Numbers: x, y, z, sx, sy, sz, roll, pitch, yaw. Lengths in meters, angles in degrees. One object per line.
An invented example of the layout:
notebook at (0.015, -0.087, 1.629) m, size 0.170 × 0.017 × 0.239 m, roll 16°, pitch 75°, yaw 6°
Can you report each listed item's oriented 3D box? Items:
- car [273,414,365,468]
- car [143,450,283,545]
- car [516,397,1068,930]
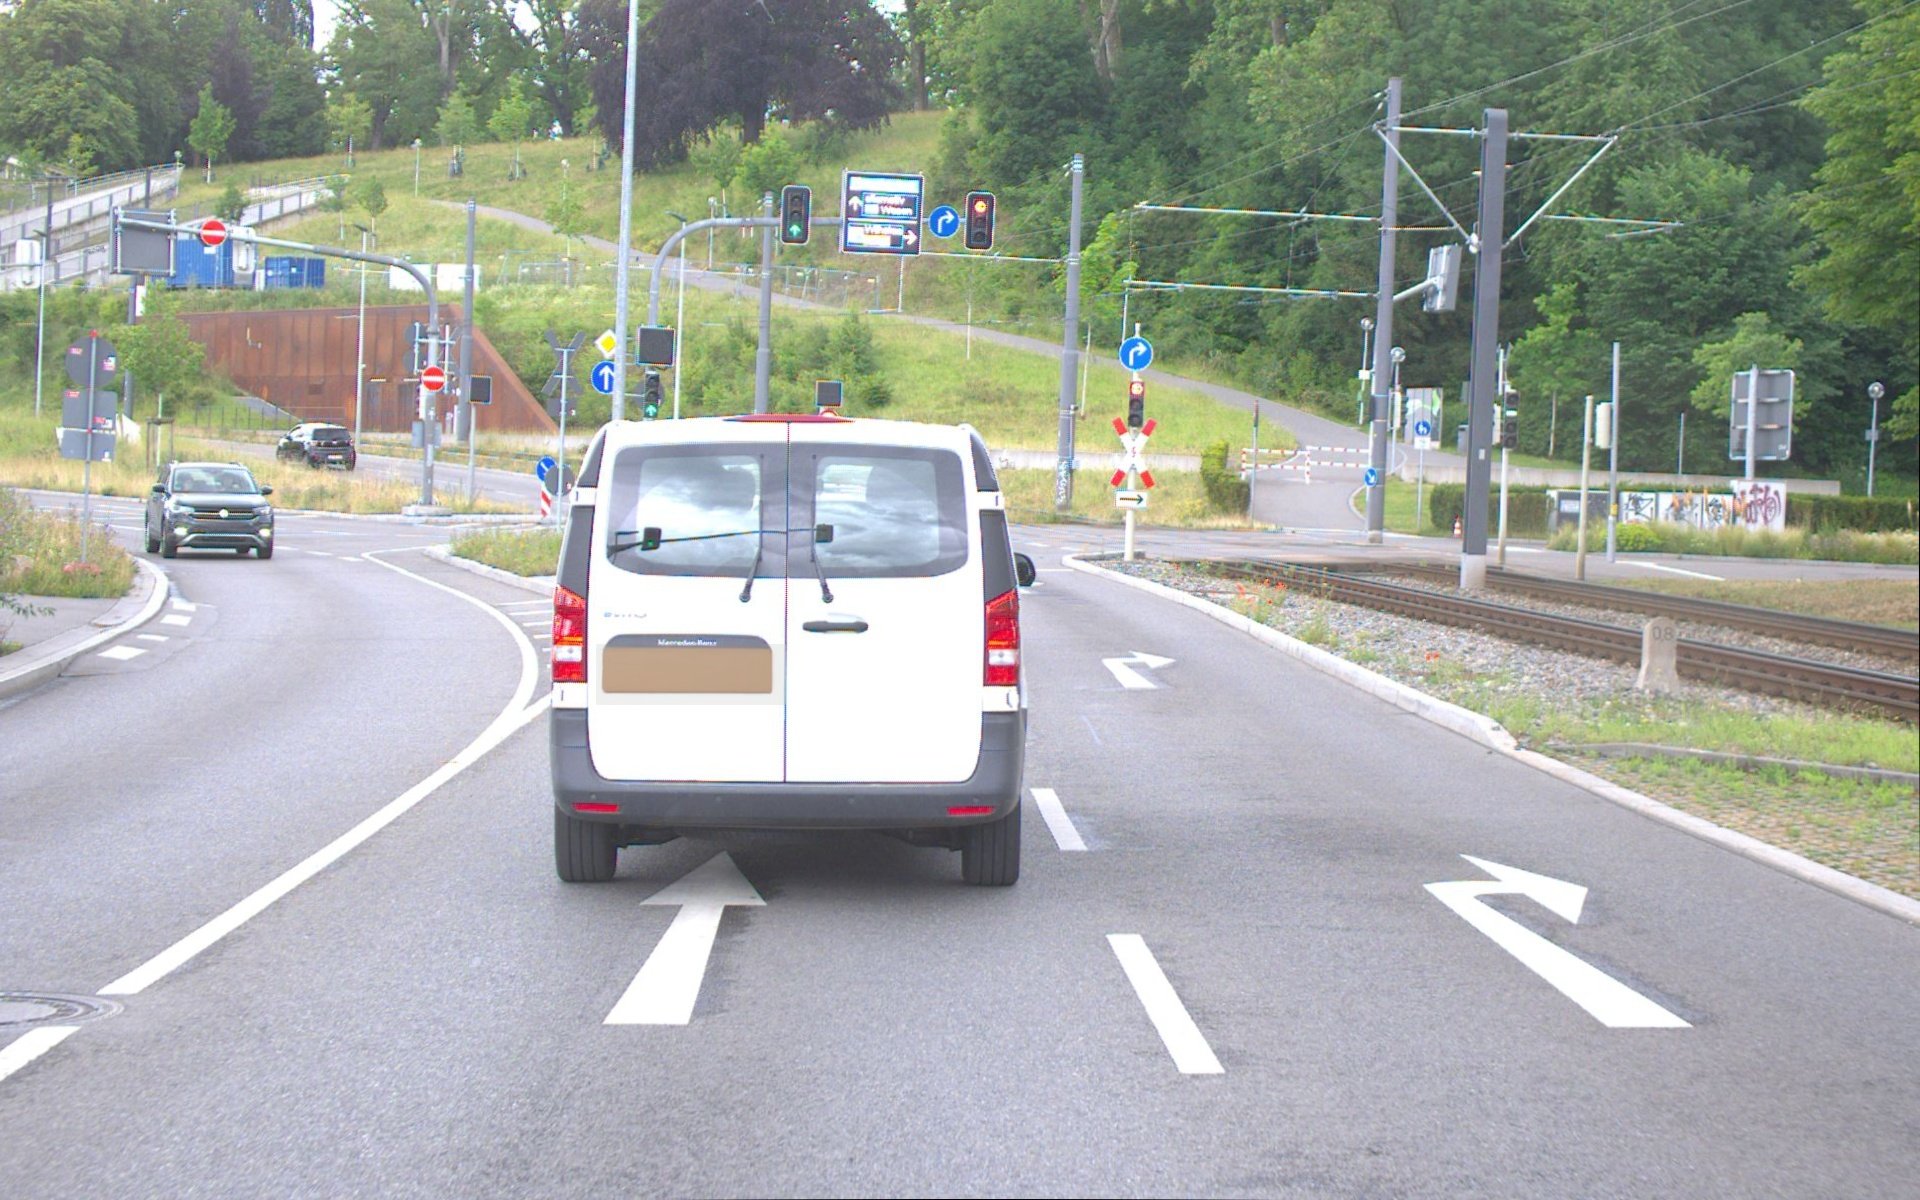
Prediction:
car at (-21.365, -5.300, 114.501) m, size 1.937 × 1.621 × 4.001 m, roll 2°, pitch 2°, yaw -26°
car at (-12.383, -1.719, 56.837) m, size 1.877 × 1.472 × 4.002 m, roll 0°, pitch 3°, yaw -18°
car at (-0.809, 0.156, 14.984) m, size 1.959 × 1.897 × 4.463 m, roll 3°, pitch 2°, yaw -5°
